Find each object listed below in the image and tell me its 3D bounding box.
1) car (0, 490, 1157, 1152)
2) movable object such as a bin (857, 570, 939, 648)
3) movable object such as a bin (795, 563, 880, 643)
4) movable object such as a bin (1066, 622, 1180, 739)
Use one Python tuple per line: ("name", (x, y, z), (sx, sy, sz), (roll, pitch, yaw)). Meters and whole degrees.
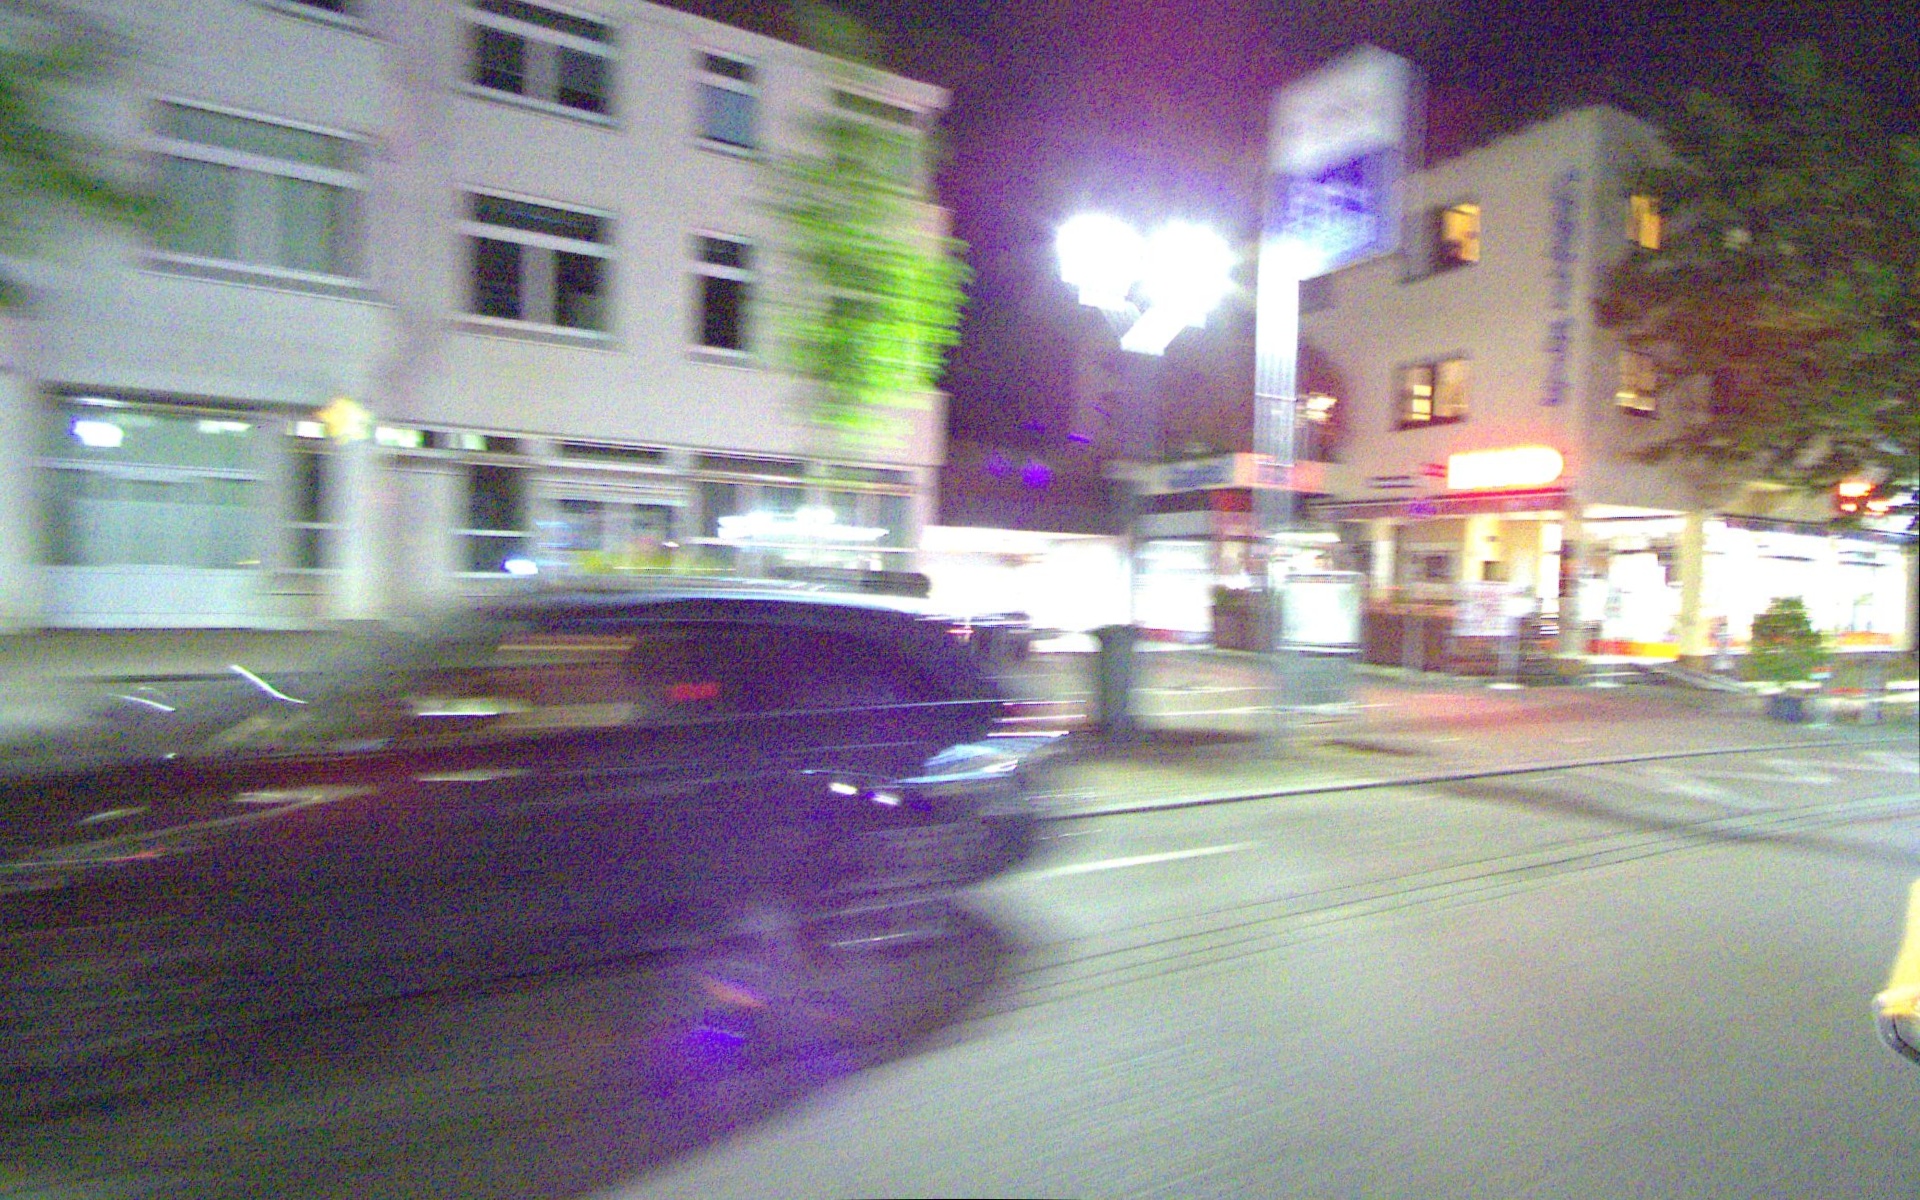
("car", (-1.565, 0.571, 4.092), (4.763, 1.659, 1.748), (1, 0, -33))
("movable object such as a bin", (-1.238, 0.170, 19.963), (1.213, 1.477, 1.125), (2, 1, -30))
("movable object such as a bin", (-2.357, 0.052, 19.303), (1.271, 1.463, 1.031), (2, 1, -30))
("movable object such as a bin", (1.605, 0.776, 9.929), (0.783, 1.079, 0.743), (2, 0, -31))
